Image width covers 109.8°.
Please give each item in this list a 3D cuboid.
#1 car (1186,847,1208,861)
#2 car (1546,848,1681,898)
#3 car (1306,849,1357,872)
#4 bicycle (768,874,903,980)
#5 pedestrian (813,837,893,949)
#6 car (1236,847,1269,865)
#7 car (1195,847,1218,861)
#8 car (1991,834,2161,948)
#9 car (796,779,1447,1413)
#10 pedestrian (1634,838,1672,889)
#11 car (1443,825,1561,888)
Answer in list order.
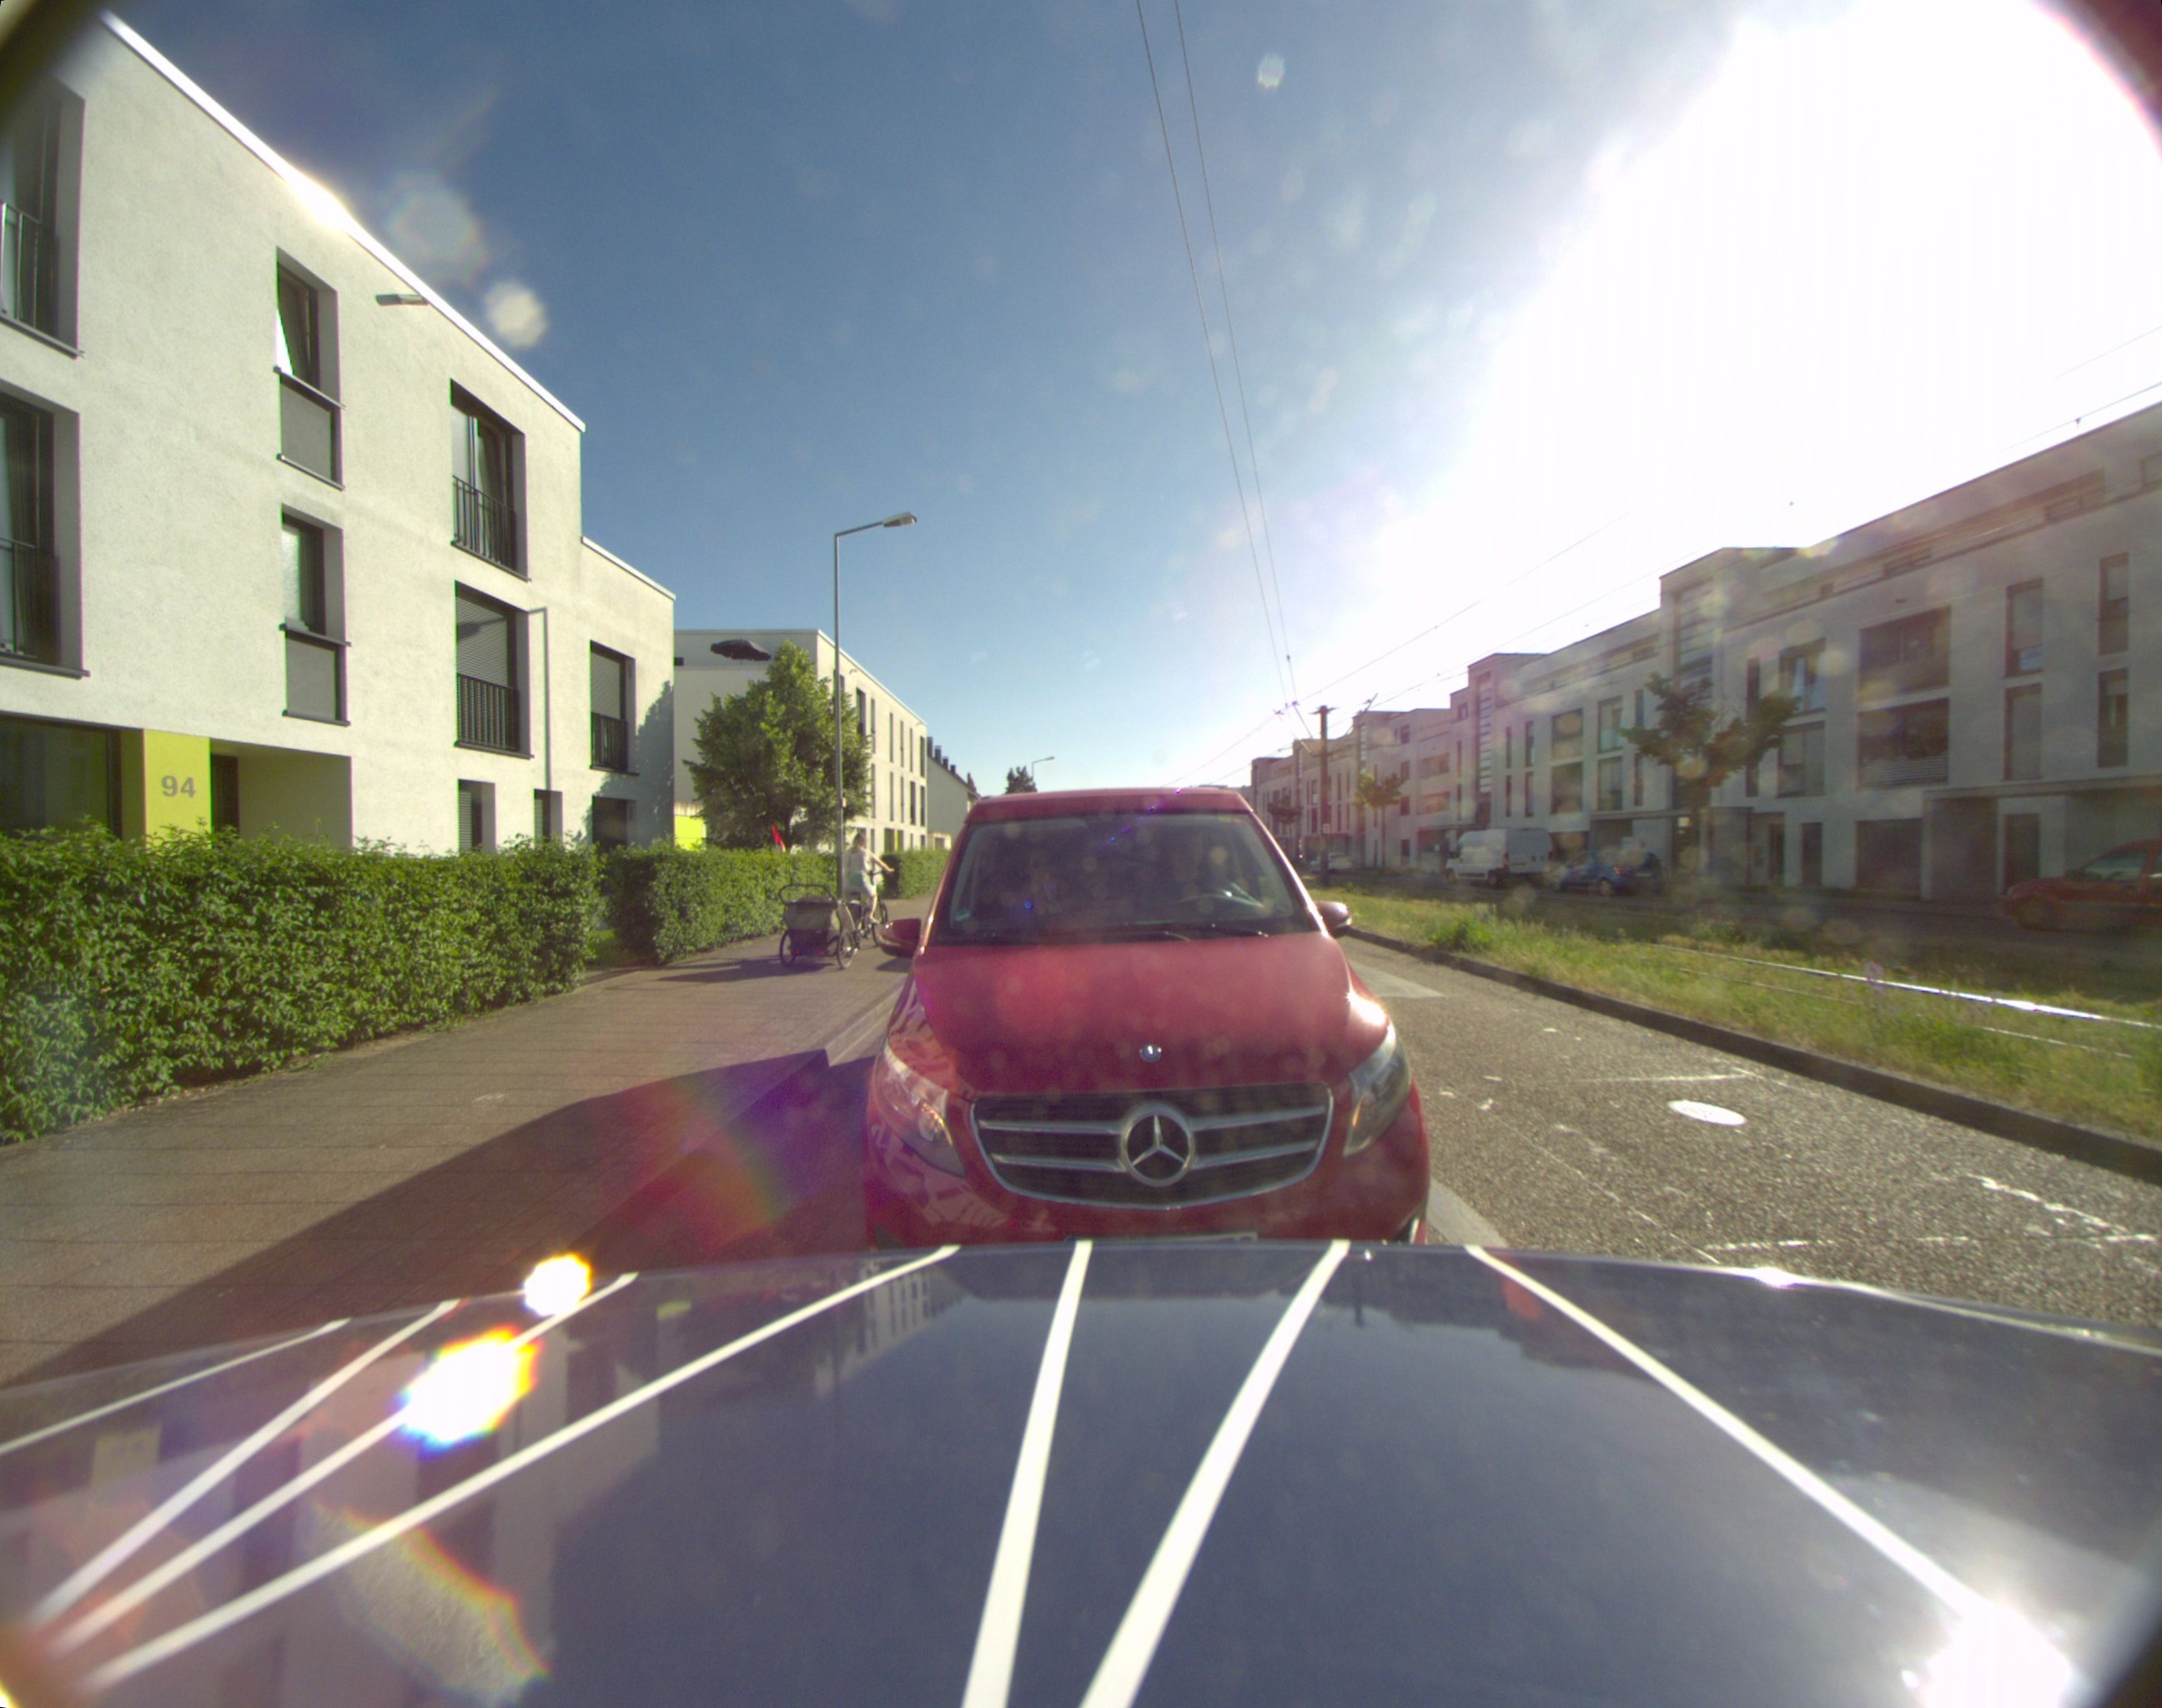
[{"bbox_3d":[15.192,-0.046,99.637,1.923,1.671,4.282,-2,1,-4],"label":"car"},{"bbox_3d":[18.380,0.586,26.479,1.999,1.536,3.835,-2,1,0],"label":"car"},{"bbox_3d":[17.638,0.426,53.719,1.923,1.497,4.282,-2,1,-4],"label":"car"},{"bbox_3d":[-3.323,0.922,10.705,0.931,1.166,3.124,0,1,-1],"label":"bicycle"},{"bbox_3d":[-3.330,0.551,11.176,0.913,1.585,0.854,0,1,0],"label":"pedestrian"},{"bbox_3d":[16.722,0.145,74.334,1.923,1.671,4.282,-2,1,-4],"label":"car"},{"bbox_3d":[15.478,-0.024,93.886,1.923,1.671,4.282,-2,1,-4],"label":"car"},{"bbox_3d":[18.620,0.588,12.788,1.998,1.817,3.895,-2,1,3],"label":"car"},{"bbox_3d":[0.156,0.708,4.520,1.874,1.843,4.506,-2,1,1],"label":"car"},{"bbox_3d":[20.797,0.332,27.647,0.776,1.812,0.785,-2,1,1],"label":"pedestrian"},{"bbox_3d":[18.173,0.085,33.150,2.225,2.458,5.195,-2,1,0],"label":"car"}]
